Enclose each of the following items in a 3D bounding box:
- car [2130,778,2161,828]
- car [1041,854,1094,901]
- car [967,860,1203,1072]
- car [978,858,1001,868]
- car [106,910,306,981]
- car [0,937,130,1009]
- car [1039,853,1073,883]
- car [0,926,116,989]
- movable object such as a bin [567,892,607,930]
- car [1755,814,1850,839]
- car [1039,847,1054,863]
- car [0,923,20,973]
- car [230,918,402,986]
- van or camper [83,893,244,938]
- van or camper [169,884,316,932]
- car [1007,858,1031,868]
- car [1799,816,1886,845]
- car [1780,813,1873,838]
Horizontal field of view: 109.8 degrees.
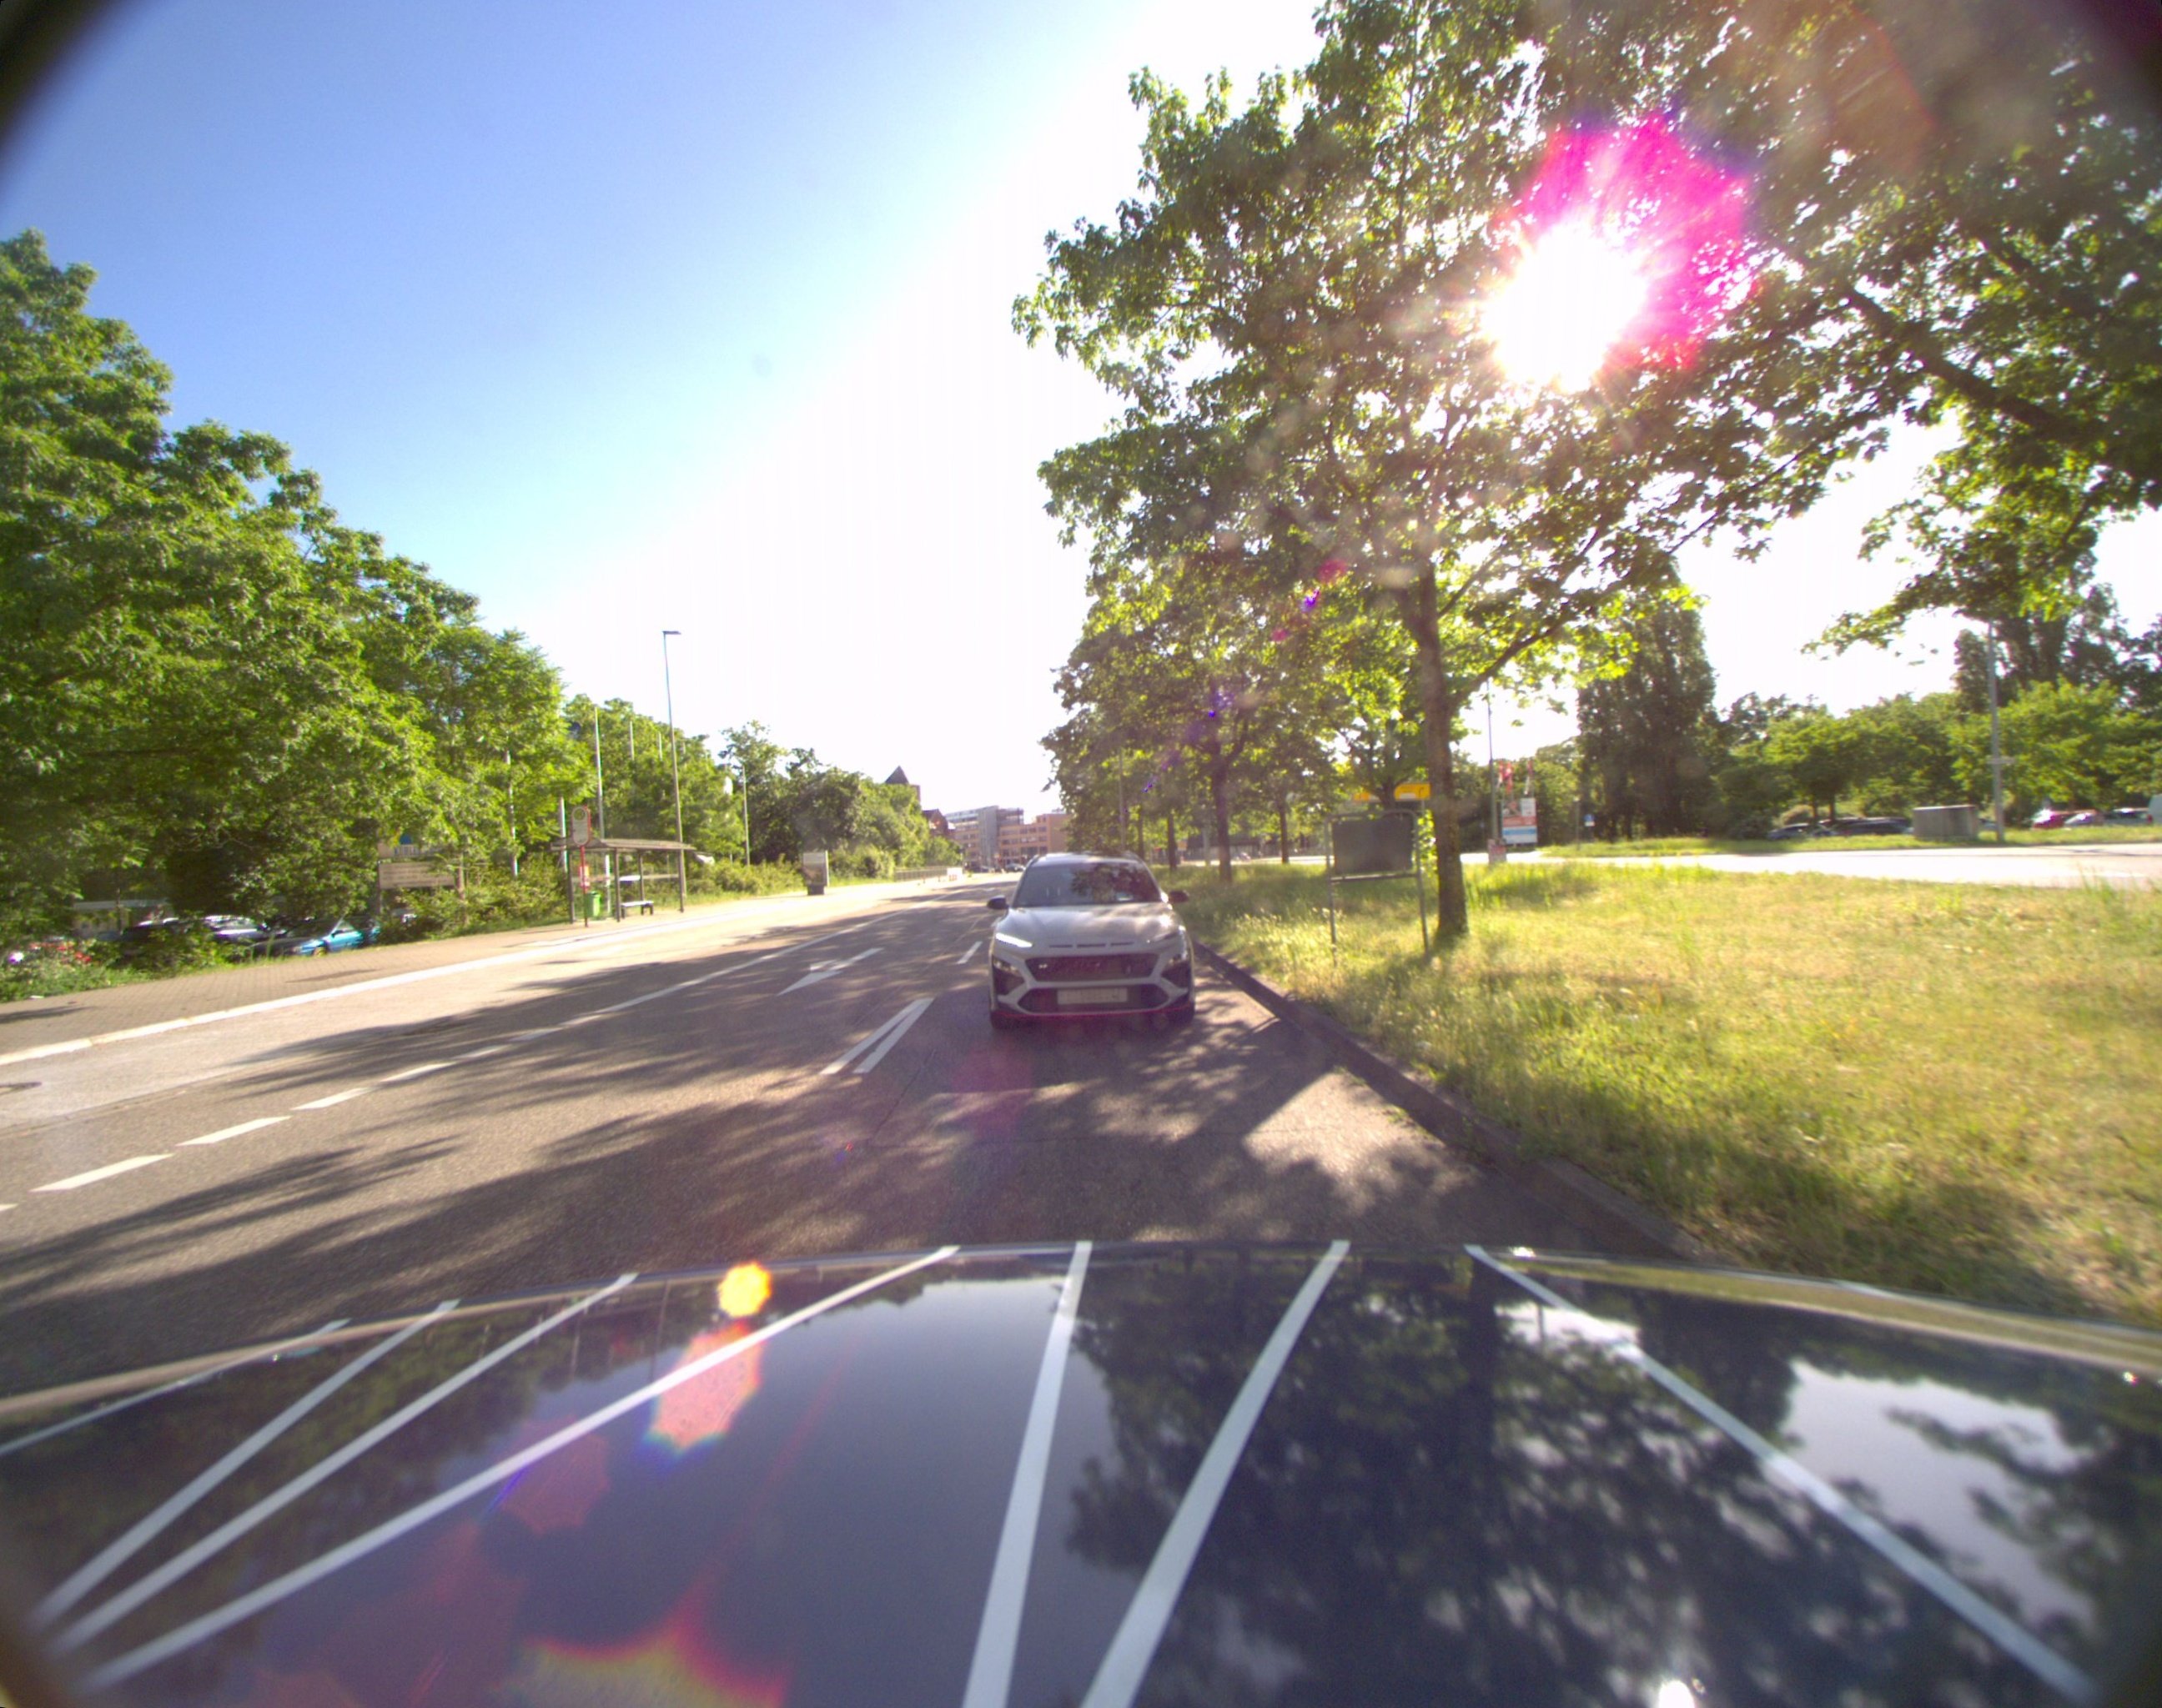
[{"bbox_3d":[46.637,-2.245,31.953,5.006,2.002,2.235,-3,0,-27],"label":"car"},{"bbox_3d":[-0.553,0.810,28.187,1.745,1.539,3.999,-3,0,-3],"label":"car"},{"bbox_3d":[0.044,0.904,7.998,1.780,1.542,3.980,-3,0,0],"label":"car"},{"bbox_3d":[-17.634,1.759,146.566,3.998,1.622,1.999,-3,0,-3],"label":"car"},{"bbox_3d":[-27.611,2.819,24.197,1.609,1.654,3.999,-4,0,0],"label":"car"},{"bbox_3d":[-21.408,2.426,14.609,1.400,1.148,3.911,-3,0,-3],"label":"car"},{"bbox_3d":[-1.432,0.760,42.751,1.679,1.499,3.947,-3,0,-4],"label":"car"},{"bbox_3d":[-33.994,3.338,23.642,1.756,1.739,4.779,-5,-2,1],"label":"car"},{"bbox_3d":[-14.371,1.644,22.107,0.728,1.024,0.578,-3,1,-2],"label":"movable object such as a bin"},{"bbox_3d":[51.825,-1.980,54.689,2.003,1.456,4.546,-5,1,-32],"label":"car"},{"bbox_3d":[-4.361,0.125,96.077,1.745,1.538,4.003,-4,-5,-2],"label":"car"},{"bbox_3d":[-36.116,3.179,23.066,1.998,1.587,4.000,-4,1,2],"label":"car"},{"bbox_3d":[-24.375,3.064,24.409,1.766,1.628,3.613,-3,0,0],"label":"car"},{"bbox_3d":[-49.380,3.264,41.138,2.458,1.902,5.324,-3,0,-6],"label":"van or camper"},{"bbox_3d":[-45.662,2.853,41.623,2.458,2.146,5.324,-3,0,-8],"label":"van or camper"},{"bbox_3d":[-9.932,1.474,121.732,1.833,1.464,3.990,-4,0,-37],"label":"car"},{"bbox_3d":[43.651,-1.319,43.690,1.818,1.440,4.005,-3,0,17],"label":"car"},{"bbox_3d":[55.123,-2.070,56.283,2.003,1.456,4.546,-5,1,-32],"label":"car"}]
